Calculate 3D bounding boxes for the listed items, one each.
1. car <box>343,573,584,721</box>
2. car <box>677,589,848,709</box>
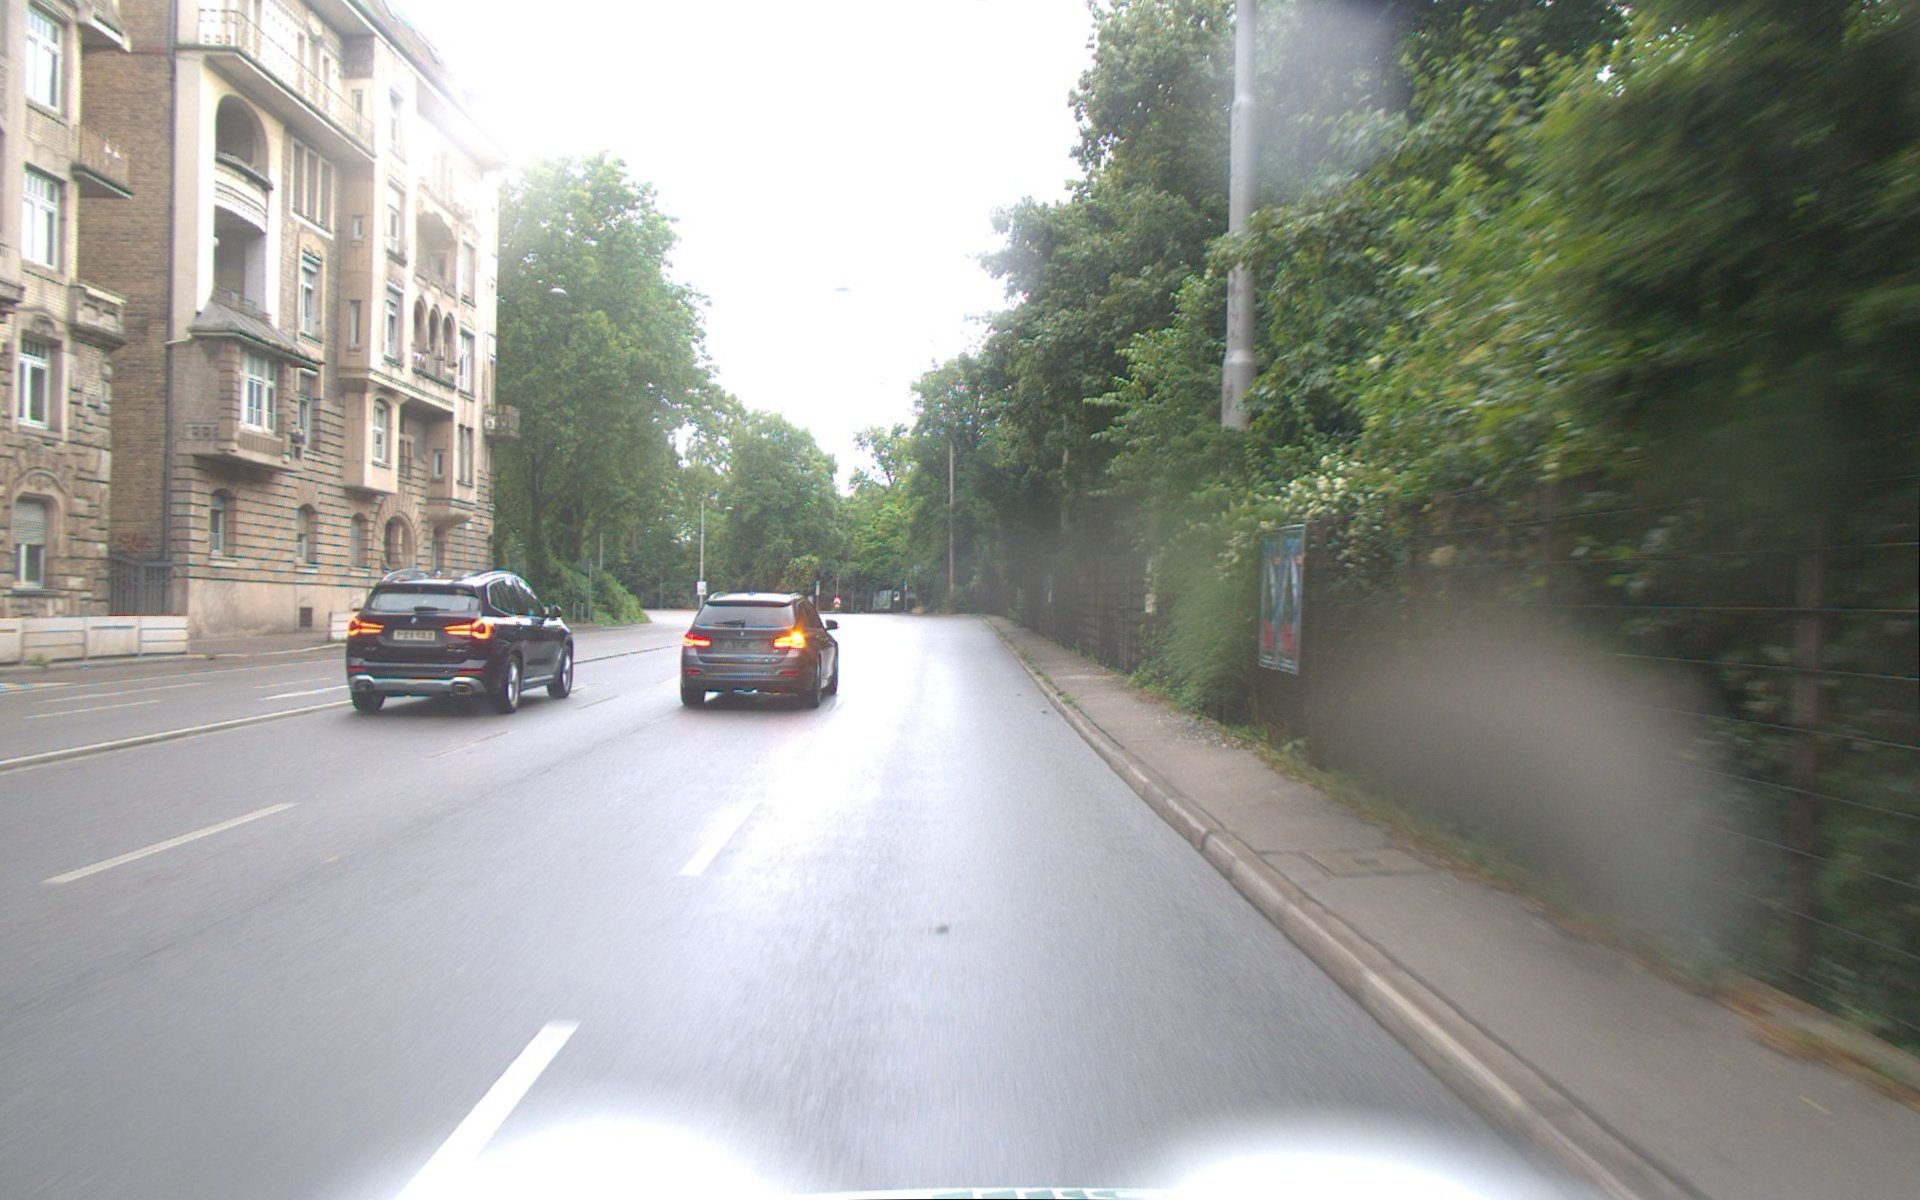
[{"bbox_3d":[-6.037,0.529,20.647,1.722,1.613,4.411,1,0,-1],"label":"car"},{"bbox_3d":[-2.578,0.609,22.524,1.721,1.457,4.413,1,0,1],"label":"car"}]
